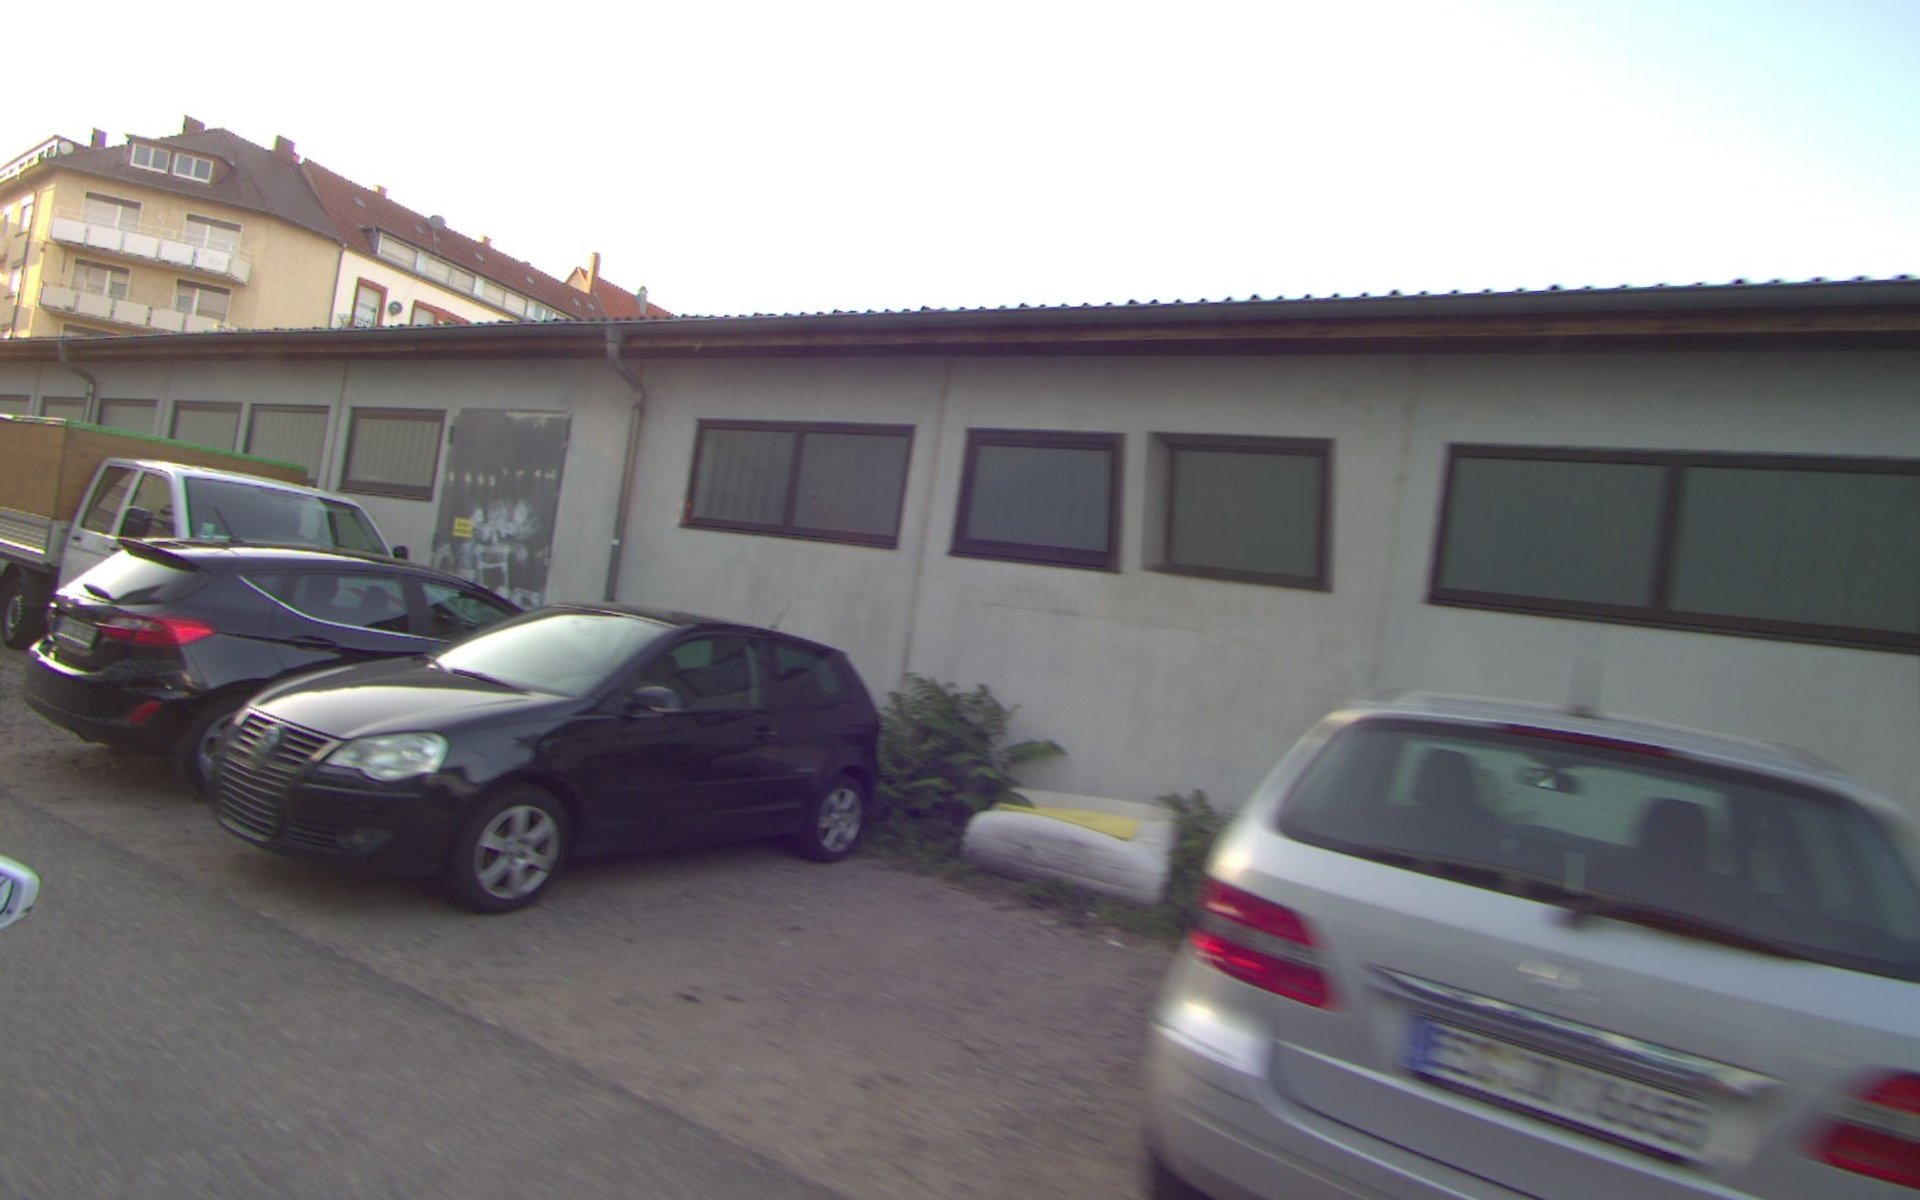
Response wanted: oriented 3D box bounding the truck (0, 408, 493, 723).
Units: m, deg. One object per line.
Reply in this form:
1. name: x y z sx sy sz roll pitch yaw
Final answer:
1. truck: -7.220 -0.425 9.537 5.616 2.225 2.103 7 -2 32

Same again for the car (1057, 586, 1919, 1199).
1. car: 2.107 1.143 3.571 1.906 1.626 3.997 7 -4 30

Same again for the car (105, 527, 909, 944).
1. car: -2.158 0.719 5.845 1.814 1.459 3.772 7 -4 30

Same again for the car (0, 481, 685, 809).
1. car: -4.122 0.415 7.095 1.860 1.552 3.769 8 -3 33
